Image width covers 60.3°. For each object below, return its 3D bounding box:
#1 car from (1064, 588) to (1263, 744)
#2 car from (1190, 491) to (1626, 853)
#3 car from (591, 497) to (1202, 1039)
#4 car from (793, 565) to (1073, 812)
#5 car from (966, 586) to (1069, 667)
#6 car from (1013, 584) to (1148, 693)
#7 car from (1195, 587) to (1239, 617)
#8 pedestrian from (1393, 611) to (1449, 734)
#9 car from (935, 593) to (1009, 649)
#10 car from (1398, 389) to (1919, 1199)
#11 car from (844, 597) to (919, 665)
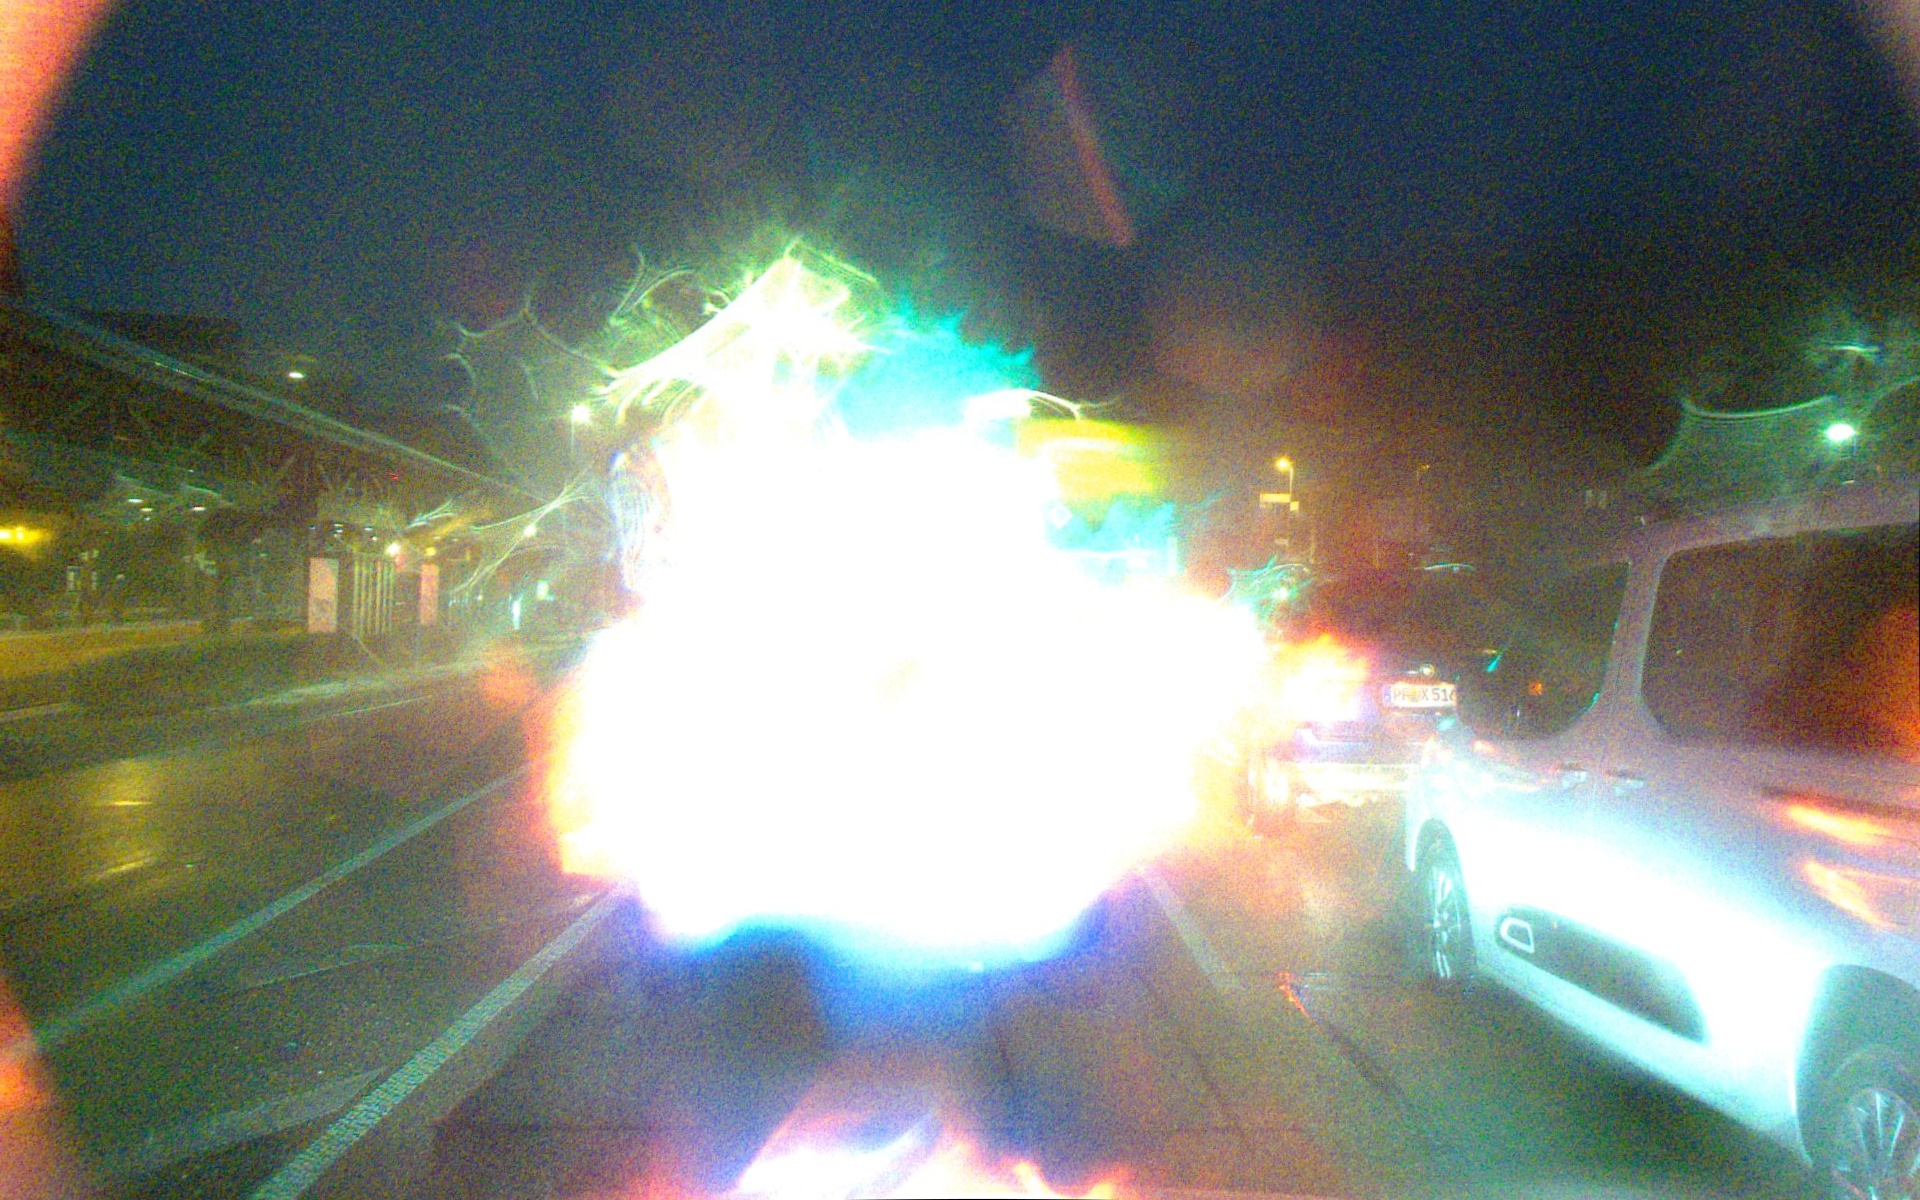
[{"bbox_3d":[2.453,0.766,20.926,1.953,1.748,3.999,1,0,-1],"label":"car"},{"bbox_3d":[2.906,0.433,11.687,1.929,2.082,3.999,1,0,-1],"label":"car"},{"bbox_3d":[-0.251,0.566,7.660,1.974,1.747,4.450,1,0,-1],"label":"car"},{"bbox_3d":[-0.219,0.636,13.725,1.953,1.713,3.999,1,0,-1],"label":"car"},{"bbox_3d":[1.319,0.610,39.411,1.955,1.804,3.996,1,0,-5],"label":"car"},{"bbox_3d":[1.987,0.627,28.410,1.953,1.699,3.999,1,0,-1],"label":"car"},{"bbox_3d":[14.631,0.119,94.236,1.827,1.675,3.962,-2,0,0],"label":"car"},{"bbox_3d":[6.603,1.026,23.702,0.610,1.731,0.540,1,-1,-3],"label":"pedestrian"},{"bbox_3d":[0.314,0.607,49.491,1.821,1.571,3.926,1,0,-5],"label":"car"},{"bbox_3d":[2.743,0.560,4.613,1.814,1.897,4.339,1,0,-1],"label":"car"},{"bbox_3d":[-2.318,0.863,48.121,1.955,1.856,3.995,1,0,-6],"label":"car"}]
